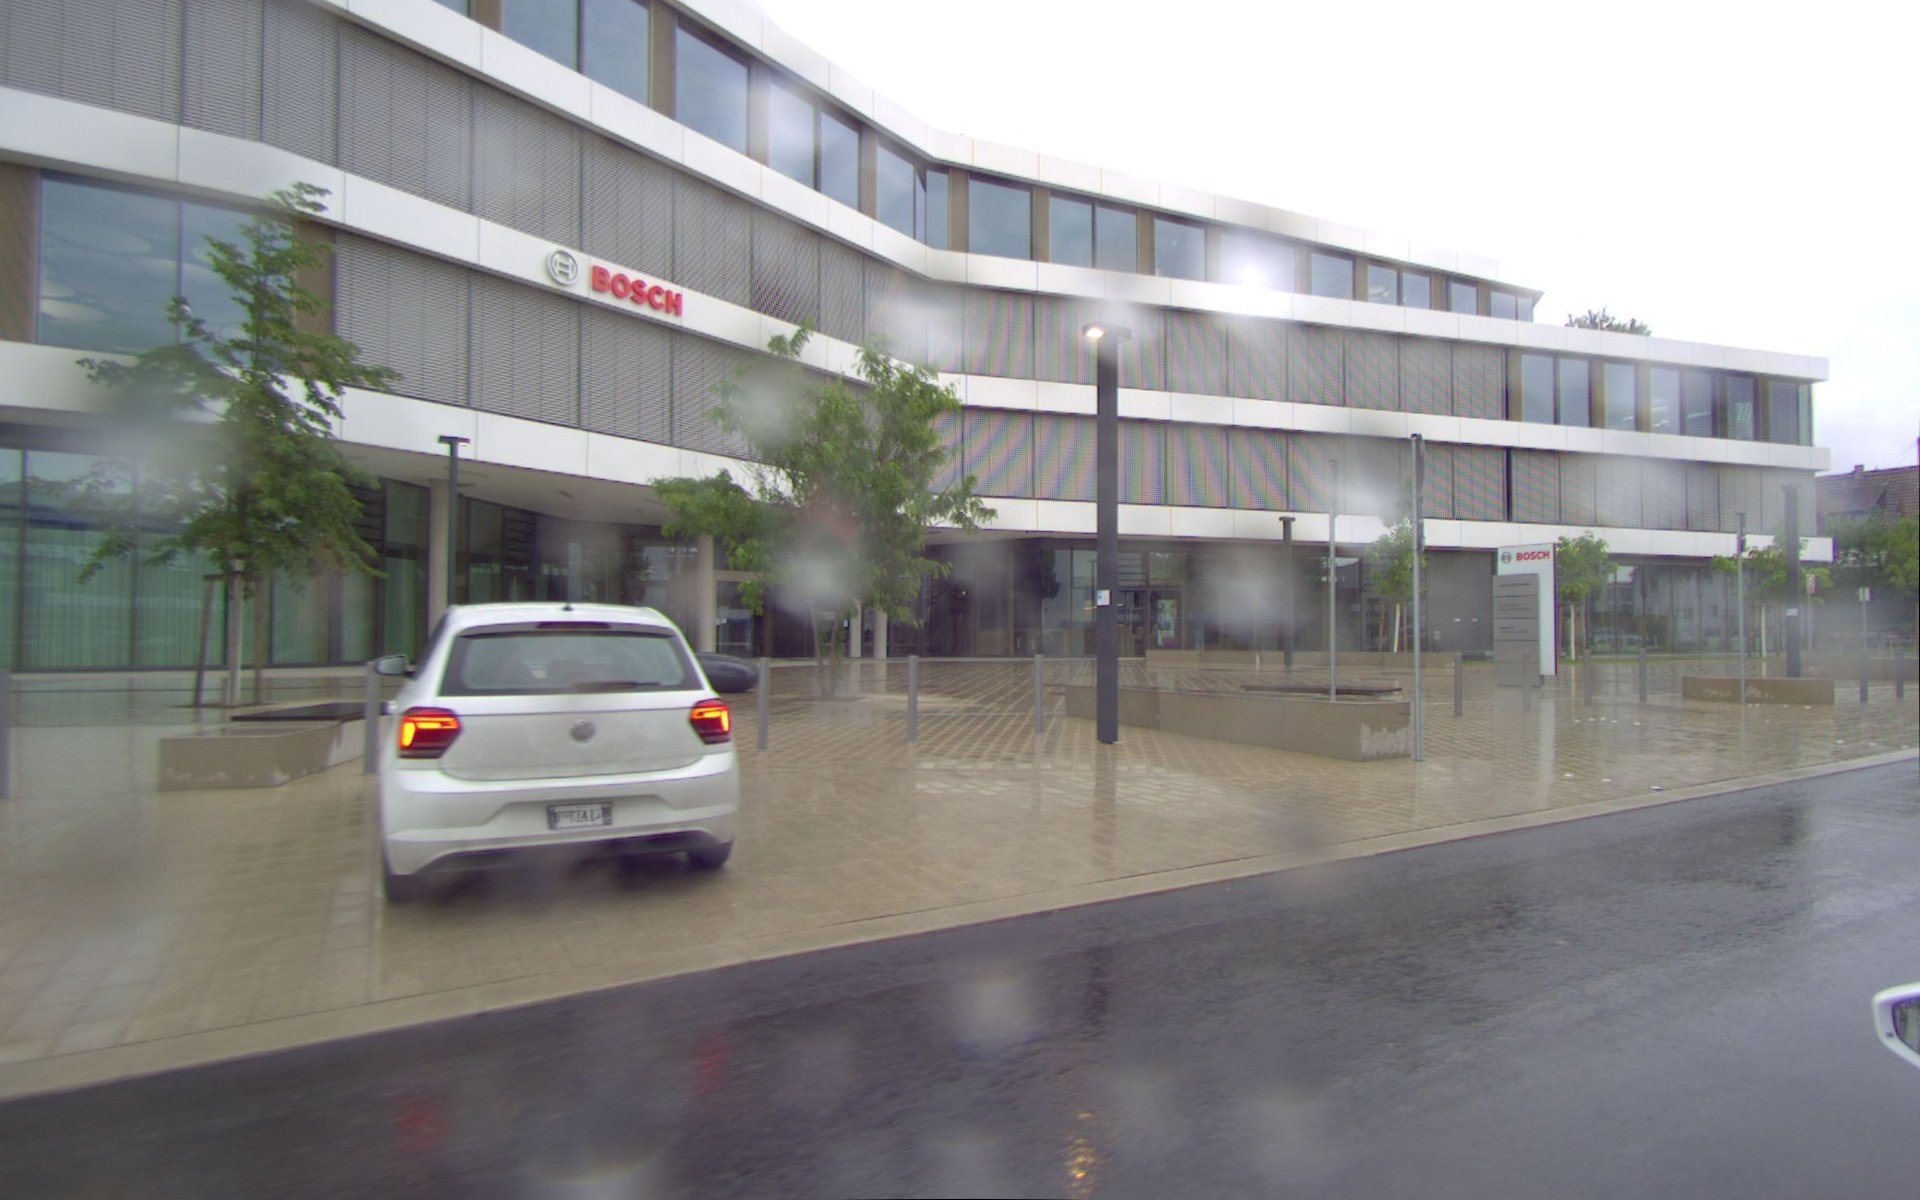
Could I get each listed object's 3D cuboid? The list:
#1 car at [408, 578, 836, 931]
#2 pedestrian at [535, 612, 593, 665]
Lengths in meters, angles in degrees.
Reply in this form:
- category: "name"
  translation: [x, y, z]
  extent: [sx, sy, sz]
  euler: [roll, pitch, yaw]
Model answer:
- category: "car"
  translation: [-2.378, 0.695, 6.294]
  extent: [1.875, 1.442, 3.911]
  euler: [1, -2, -29]
- category: "pedestrian"
  translation: [-10.529, 1.007, 26.722]
  extent: [0.883, 1.332, 1.059]
  euler: [4, 1, 33]
